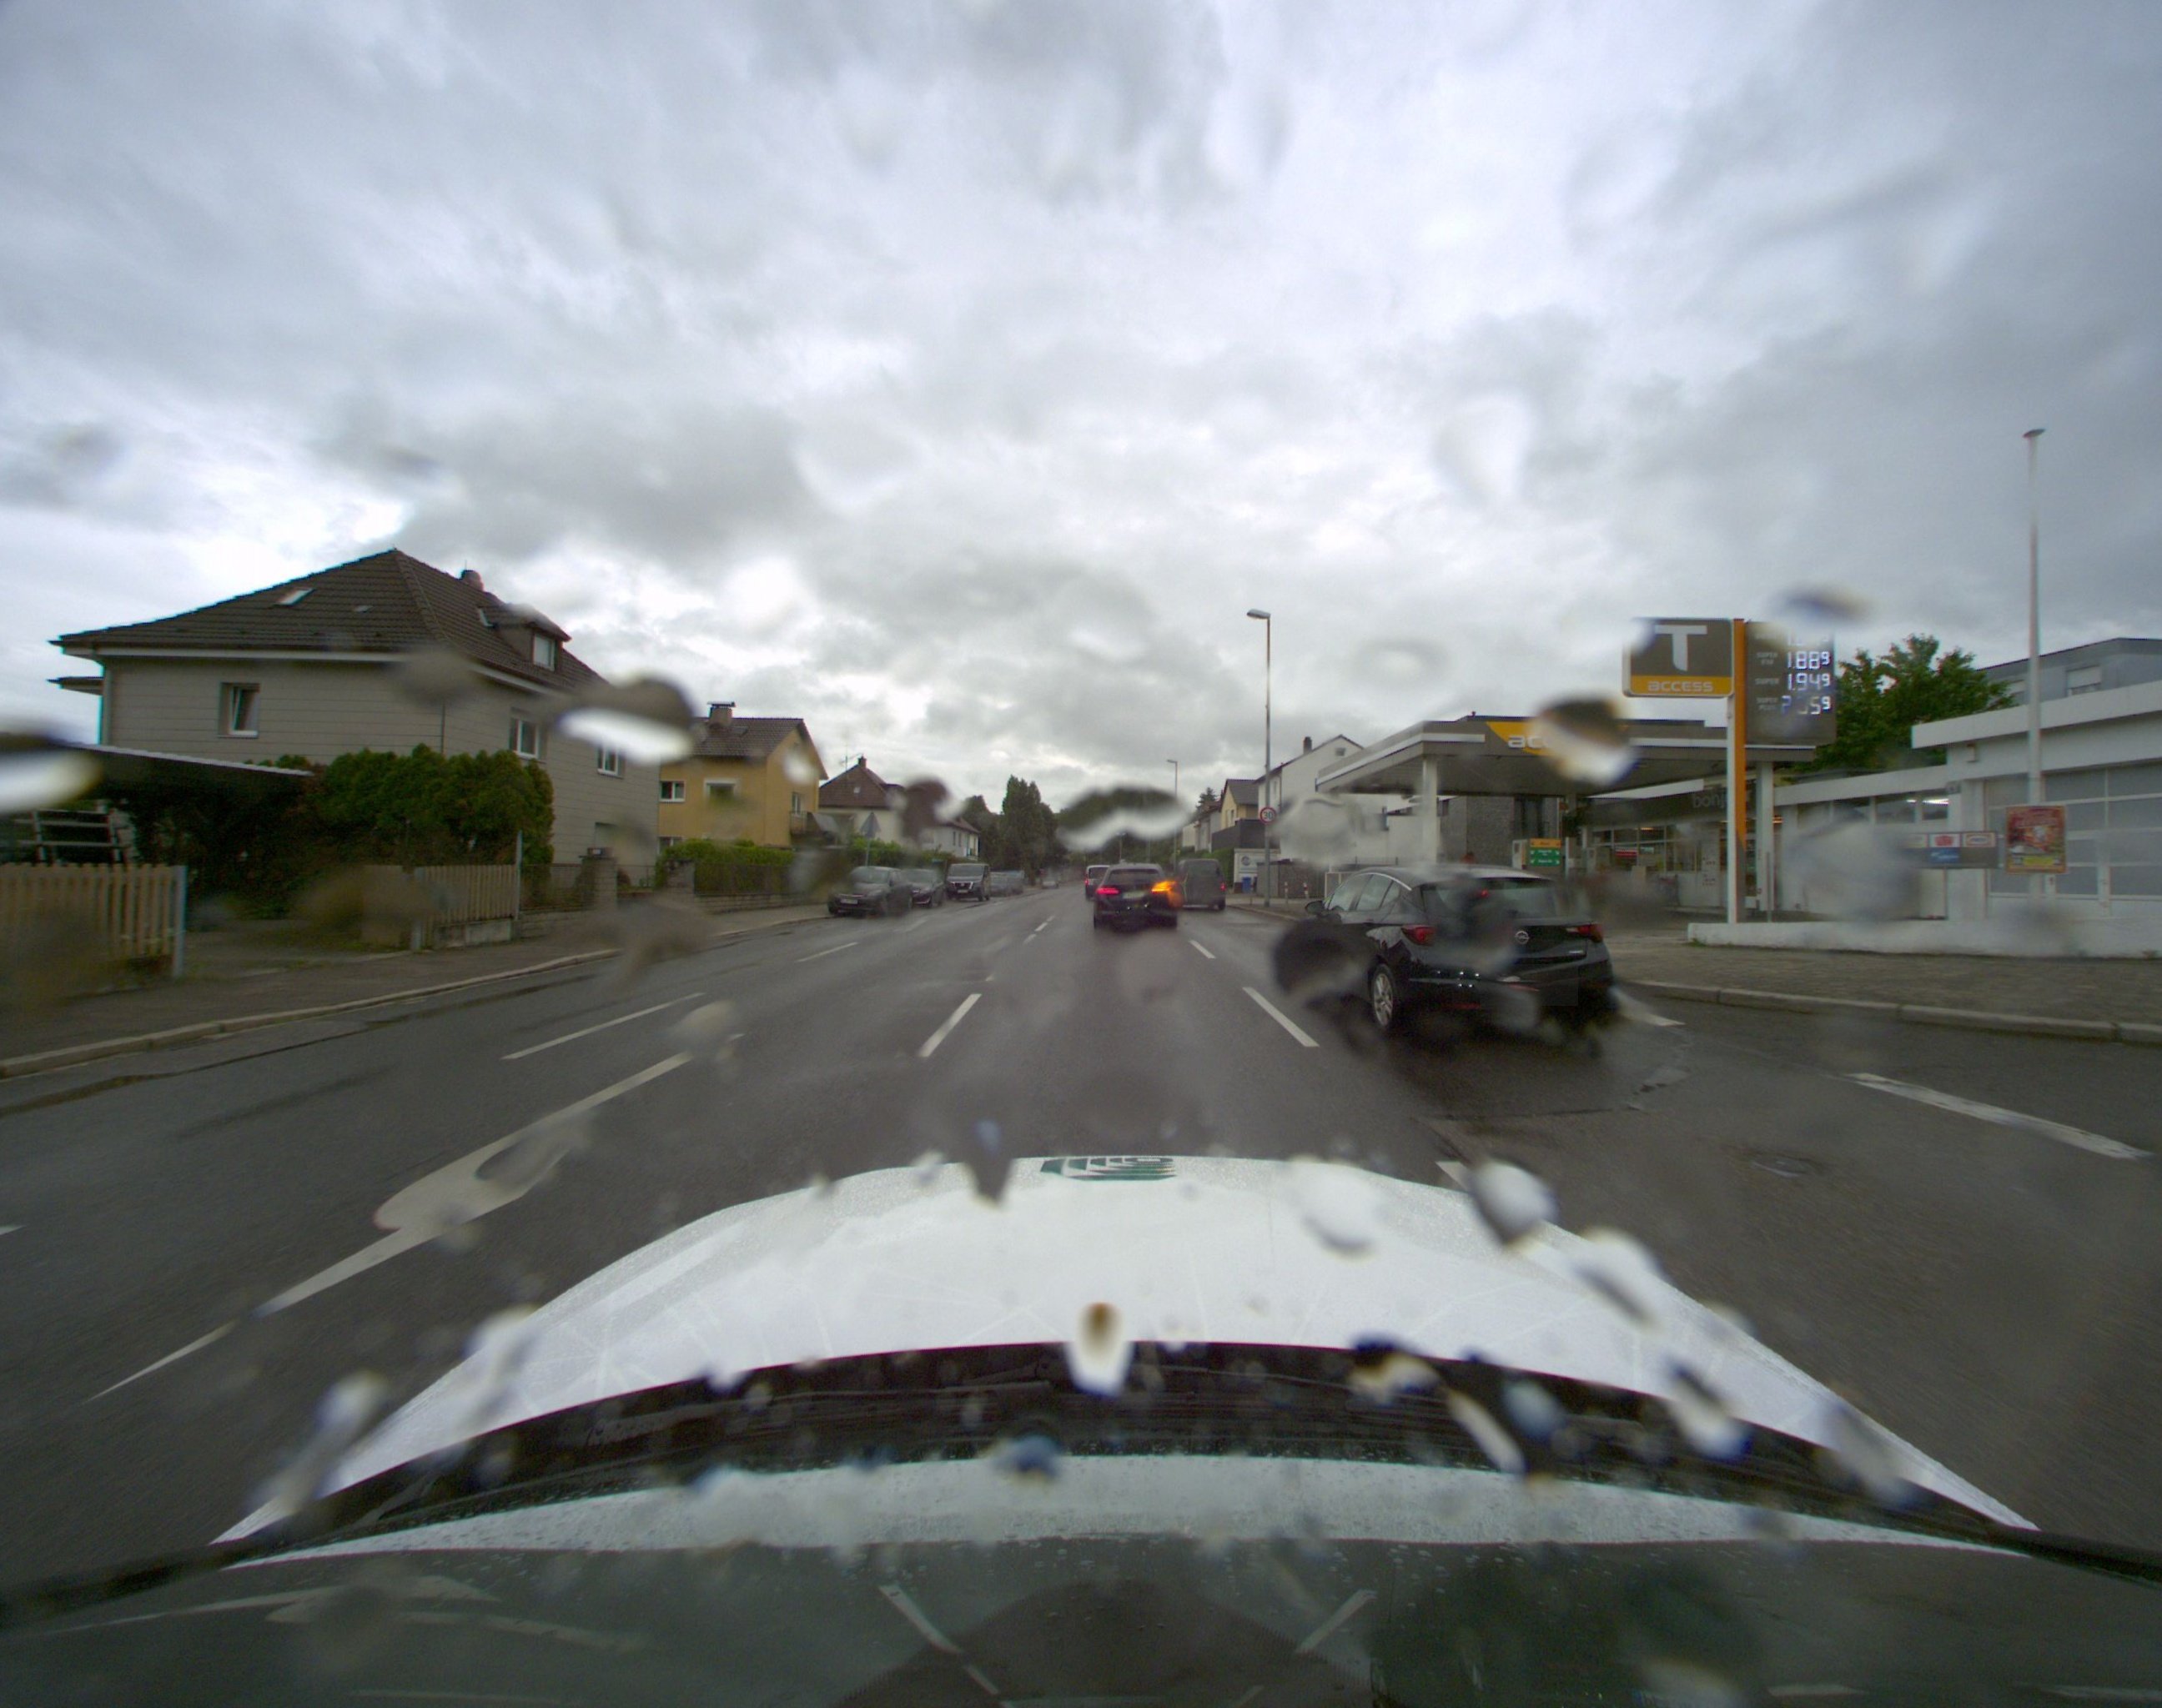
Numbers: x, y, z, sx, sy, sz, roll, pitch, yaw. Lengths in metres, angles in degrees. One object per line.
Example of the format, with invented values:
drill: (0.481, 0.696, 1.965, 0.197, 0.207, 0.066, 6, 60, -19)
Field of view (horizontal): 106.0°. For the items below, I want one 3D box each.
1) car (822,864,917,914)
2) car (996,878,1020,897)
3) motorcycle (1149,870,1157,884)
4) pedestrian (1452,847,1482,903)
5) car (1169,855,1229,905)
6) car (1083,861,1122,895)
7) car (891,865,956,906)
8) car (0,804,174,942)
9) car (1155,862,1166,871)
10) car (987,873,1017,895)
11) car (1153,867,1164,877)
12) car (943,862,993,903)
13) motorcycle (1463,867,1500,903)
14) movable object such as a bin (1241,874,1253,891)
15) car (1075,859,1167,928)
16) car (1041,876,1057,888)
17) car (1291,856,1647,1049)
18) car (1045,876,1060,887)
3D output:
car: (-6.573, 1.097, 25.794, 1.743, 1.440, 4.131, 0, -2, 2)
car: (-5.709, 2.647, 63.912, 1.546, 1.431, 4.013, 0, -2, 0)
motorcycle: (8.321, 2.672, 94.265, 0.700, 1.509, 2.151, -2, -2, 2)
pedestrian: (11.667, 0.628, 24.626, 0.607, 1.656, 0.586, 0, -2, 1)
car: (4.338, 0.974, 30.439, 1.831, 1.767, 4.001, 0, -2, 2)
car: (1.203, 1.322, 44.480, 1.986, 1.738, 4.001, 0, -2, 2)
car: (-6.151, 1.227, 32.322, 1.745, 1.517, 4.525, 0, -2, -1)
car: (-17.181, 0.320, 12.754, 3.966, 1.954, 2.004, -2, 0, 6)
car: (21.794, 3.386, 223.847, 2.513, 2.013, 5.610, 2, 3, 1)
car: (-5.564, 2.116, 57.777, 1.752, 1.533, 4.284, 0, -2, -1)
car: (17.847, 4.228, 187.626, 2.510, 2.013, 5.616, 1, 1, 5)
car: (-5.812, 1.502, 42.548, 1.907, 2.003, 5.085, 0, -2, -1)
motorcycle: (11.975, 0.927, 24.400, 0.460, 1.055, 1.391, 0, -2, 2)
movable object such as a bin: (10.772, 1.853, 52.845, 0.593, 1.105, 0.667, -3, -2, 1)
car: (0.956, 0.912, 19.526, 1.985, 1.484, 4.002, 0, -2, 3)
car: (-4.276, 3.839, 110.673, 1.877, 1.585, 4.001, 0, -2, 2)
car: (3.435, 0.756, 8.141, 1.750, 1.449, 4.001, 0, -1, 2)
car: (-4.059, 4.004, 117.227, 1.877, 1.585, 4.001, 0, -2, 2)
